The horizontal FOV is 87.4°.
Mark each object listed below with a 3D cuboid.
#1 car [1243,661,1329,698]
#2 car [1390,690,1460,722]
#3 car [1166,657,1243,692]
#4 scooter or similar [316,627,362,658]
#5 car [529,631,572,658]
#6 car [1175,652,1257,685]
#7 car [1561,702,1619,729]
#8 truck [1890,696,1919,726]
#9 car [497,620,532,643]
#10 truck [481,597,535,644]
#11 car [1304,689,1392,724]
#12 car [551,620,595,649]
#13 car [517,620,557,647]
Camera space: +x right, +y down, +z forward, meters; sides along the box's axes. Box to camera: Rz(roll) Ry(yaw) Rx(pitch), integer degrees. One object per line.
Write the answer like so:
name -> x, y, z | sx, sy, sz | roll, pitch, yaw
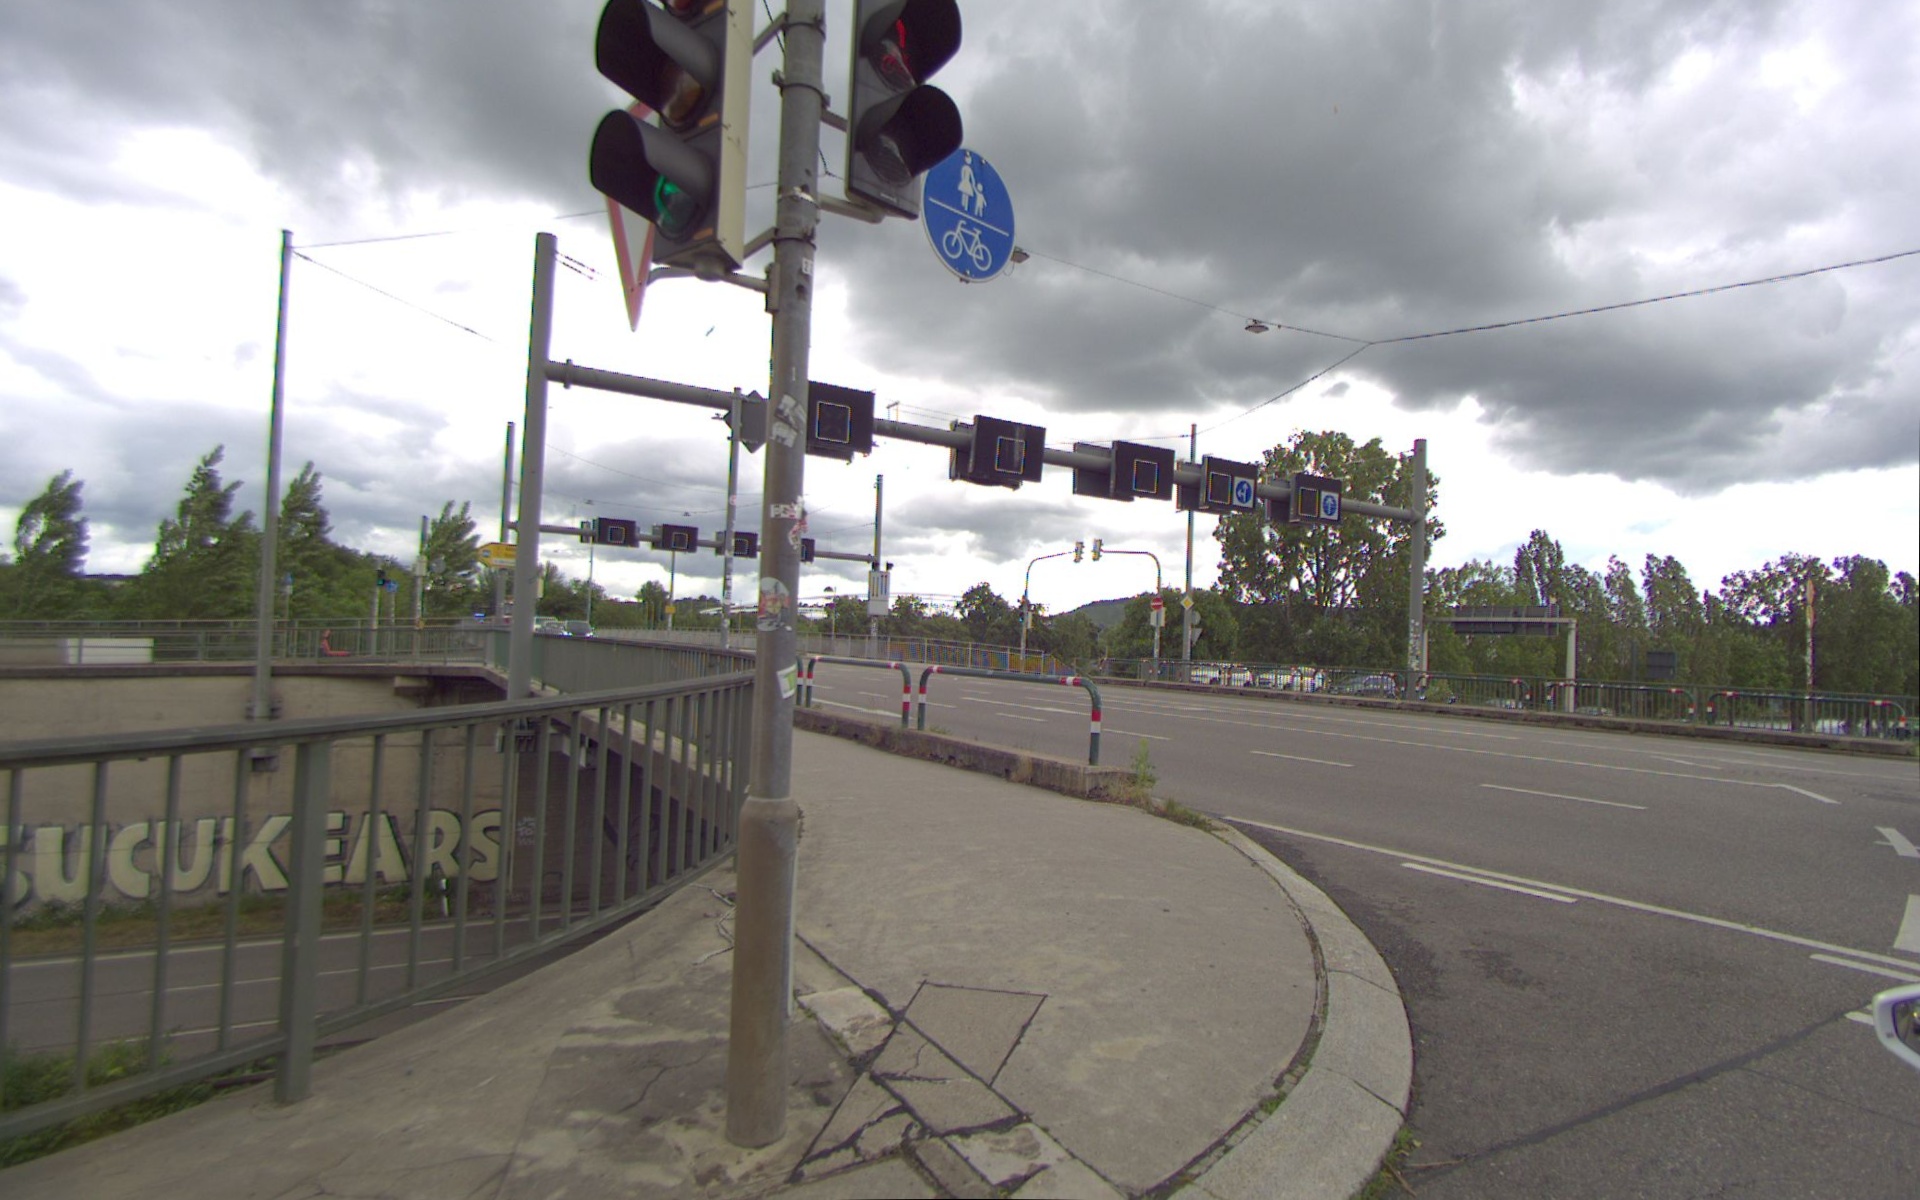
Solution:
car -> 17.270, 4.211, 53.105 | 4.296, 1.640, 1.984 | 7, -5, -31
car -> 27.937, 6.361, 60.332 | 3.958, 1.638, 1.983 | 7, -6, -32
car -> 12.953, 3.938, 53.219 | 3.967, 1.559, 1.681 | 7, -6, -32
scooter or similar -> -22.056, 1.514, 35.679 | 1.324, 1.070, 0.479 | 1, -1, -38
car -> -25.500, 2.752, 62.532 | 1.820, 1.524, 4.480 | 3, -2, -30
car -> 12.684, 3.395, 49.739 | 3.723, 1.329, 1.776 | 6, -5, -30
car -> 44.661, 8.160, 71.219 | 3.958, 1.638, 1.983 | 7, -6, -32
truck -> 119.680, 13.883, 125.535 | 9.156, 3.555, 2.759 | 4, -3, -32
car -> -33.154, 2.315, 74.722 | 1.864, 1.624, 3.983 | 3, -2, -30
truck -> -38.141, 1.716, 84.566 | 2.981, 3.612, 9.901 | 3, -2, -30
car -> 21.497, 5.909, 55.659 | 4.910, 1.640, 1.983 | 7, -6, -32
car -> -21.850, 1.916, 56.614 | 1.819, 1.524, 3.842 | 3, -2, -28
car -> -28.924, 2.269, 68.657 | 1.864, 1.784, 4.763 | 3, -2, -30
